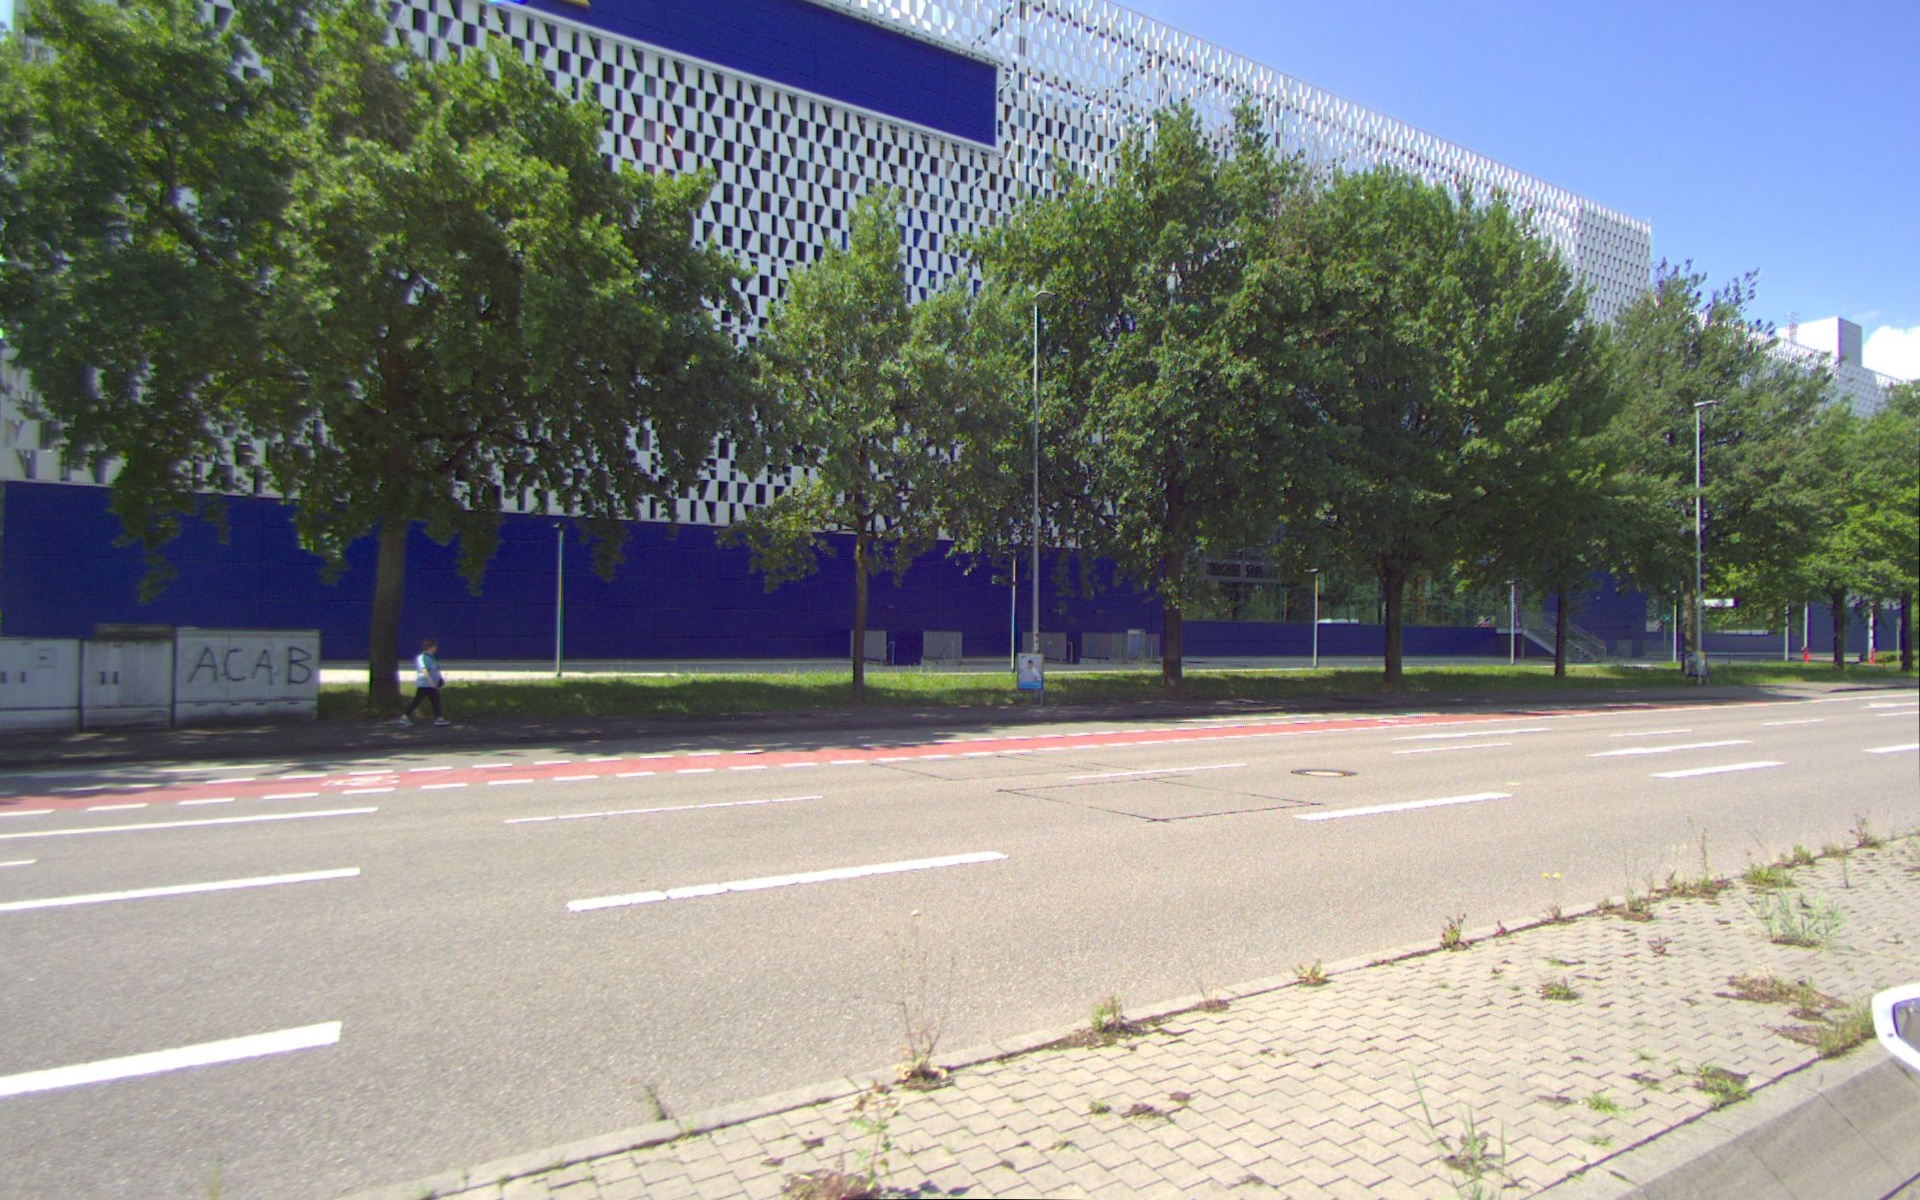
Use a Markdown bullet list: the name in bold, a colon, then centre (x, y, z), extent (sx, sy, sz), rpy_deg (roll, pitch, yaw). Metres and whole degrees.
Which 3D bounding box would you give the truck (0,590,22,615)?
- **truck**: centre (-110.987, 0.248, 115.648), extent (2.937, 2.789, 5.742), rpy_deg (0, 0, -28)

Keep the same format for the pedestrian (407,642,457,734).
- **pedestrian**: centre (-9.369, 1.544, 17.824), extent (0.752, 1.576, 0.500), rpy_deg (1, -1, -30)
